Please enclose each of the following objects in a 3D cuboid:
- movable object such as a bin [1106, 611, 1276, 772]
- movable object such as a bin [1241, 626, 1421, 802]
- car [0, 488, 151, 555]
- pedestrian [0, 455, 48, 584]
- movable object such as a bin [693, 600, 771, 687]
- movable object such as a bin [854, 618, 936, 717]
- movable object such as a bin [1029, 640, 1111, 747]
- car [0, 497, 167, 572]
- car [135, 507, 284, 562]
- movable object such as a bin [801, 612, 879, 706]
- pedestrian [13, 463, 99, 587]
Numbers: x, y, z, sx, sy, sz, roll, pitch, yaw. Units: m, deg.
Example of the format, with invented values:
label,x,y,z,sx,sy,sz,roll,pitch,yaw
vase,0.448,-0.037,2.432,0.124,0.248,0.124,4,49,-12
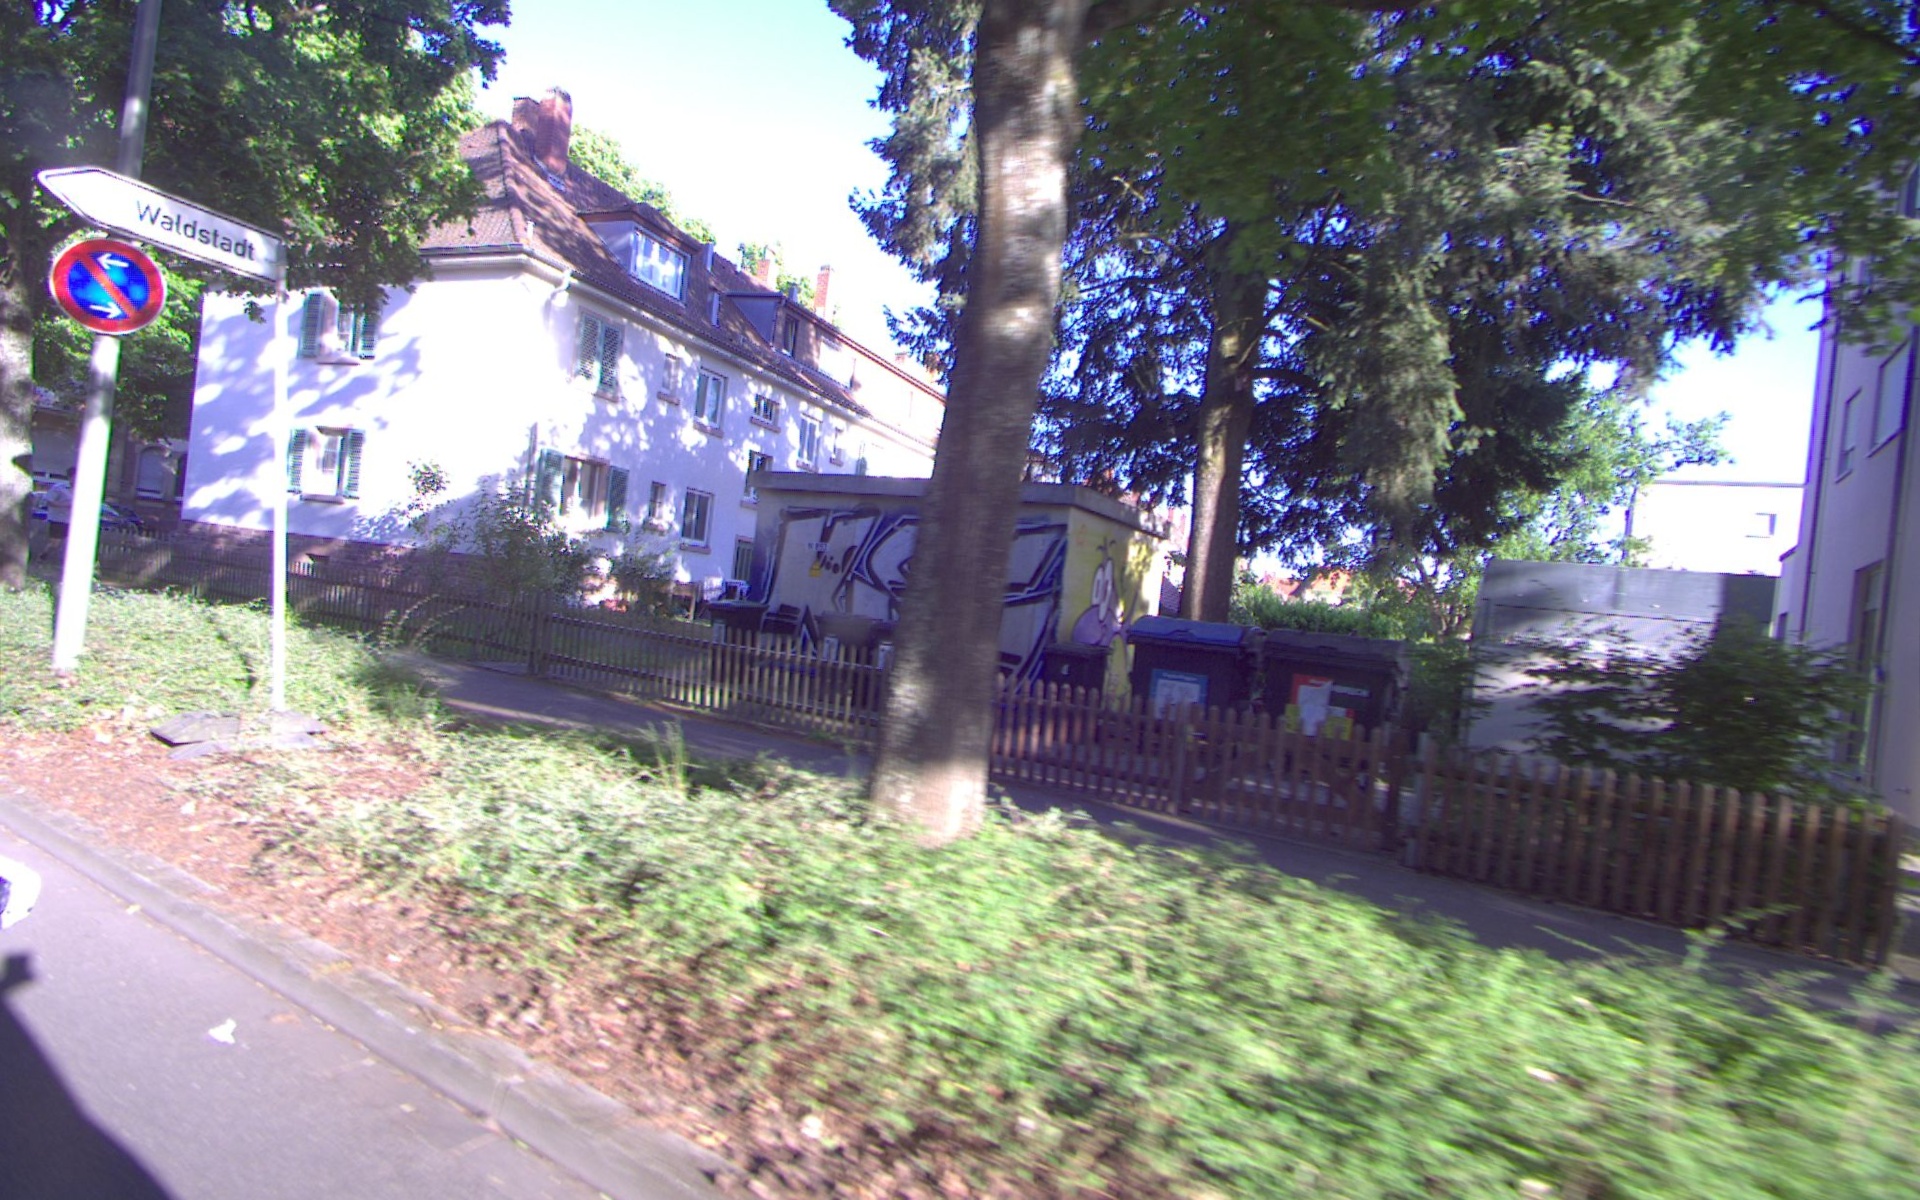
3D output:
label,x,y,z,sx,sy,sz,roll,pitch,yaw
movable object such as a bin,2.441,0.921,10.589,1.364,1.449,1.079,6,1,31
movable object such as a bin,3.623,1.059,9.792,1.343,1.445,1.079,6,1,31
car,-31.723,-2.782,35.739,1.703,1.640,4.261,8,-2,22
pedestrian,-15.078,-1.282,15.836,0.880,1.916,0.674,6,-1,32
movable object such as a bin,-2.936,0.559,12.973,0.634,1.043,0.643,6,1,30
movable object such as a bin,-0.750,0.769,11.634,0.630,1.043,0.606,6,1,30
movable object such as a bin,1.167,0.979,10.687,0.604,1.043,0.538,6,1,30
car,-24.259,-1.801,27.710,3.927,1.573,2.001,5,-2,22
car,-29.885,-2.555,40.240,1.703,1.517,4.455,8,0,22
movable object such as a bin,-1.431,0.699,12.044,0.585,1.043,0.615,6,1,30
pedestrian,-15.081,-1.250,16.780,1.001,1.916,0.643,6,-1,32
